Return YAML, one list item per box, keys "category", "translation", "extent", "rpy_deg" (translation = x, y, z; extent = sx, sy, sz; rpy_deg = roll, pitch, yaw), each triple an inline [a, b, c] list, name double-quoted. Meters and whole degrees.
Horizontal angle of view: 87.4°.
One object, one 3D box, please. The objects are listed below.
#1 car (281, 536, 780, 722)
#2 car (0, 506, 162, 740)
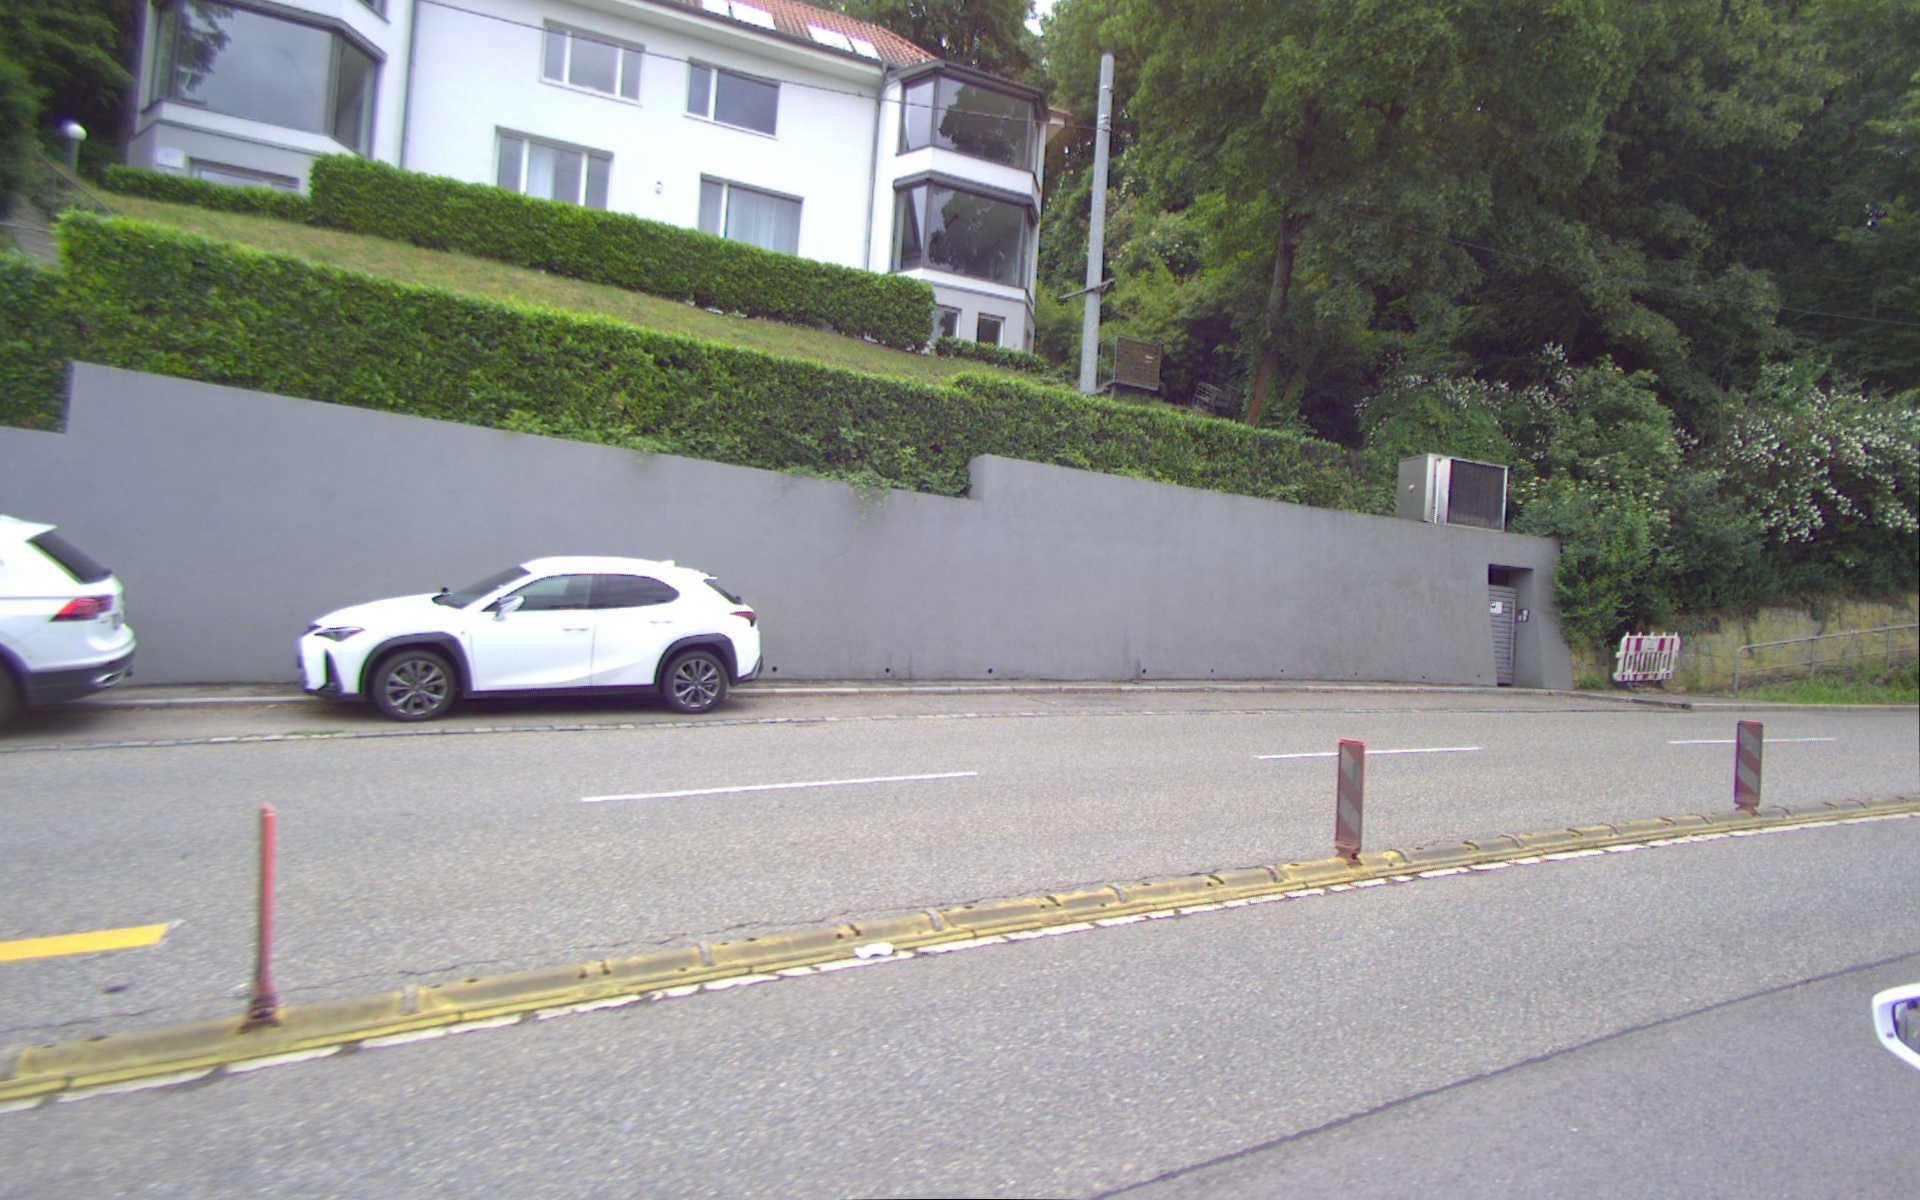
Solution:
- category: "car"
  translation: [-4.334, 0.298, 10.536]
  extent: [4.423, 1.593, 1.824]
  rpy_deg: [2, 1, -30]
- category: "car"
  translation: [-8.900, 0.081, 7.323]
  extent: [4.717, 1.754, 1.845]
  rpy_deg: [2, 2, -37]
